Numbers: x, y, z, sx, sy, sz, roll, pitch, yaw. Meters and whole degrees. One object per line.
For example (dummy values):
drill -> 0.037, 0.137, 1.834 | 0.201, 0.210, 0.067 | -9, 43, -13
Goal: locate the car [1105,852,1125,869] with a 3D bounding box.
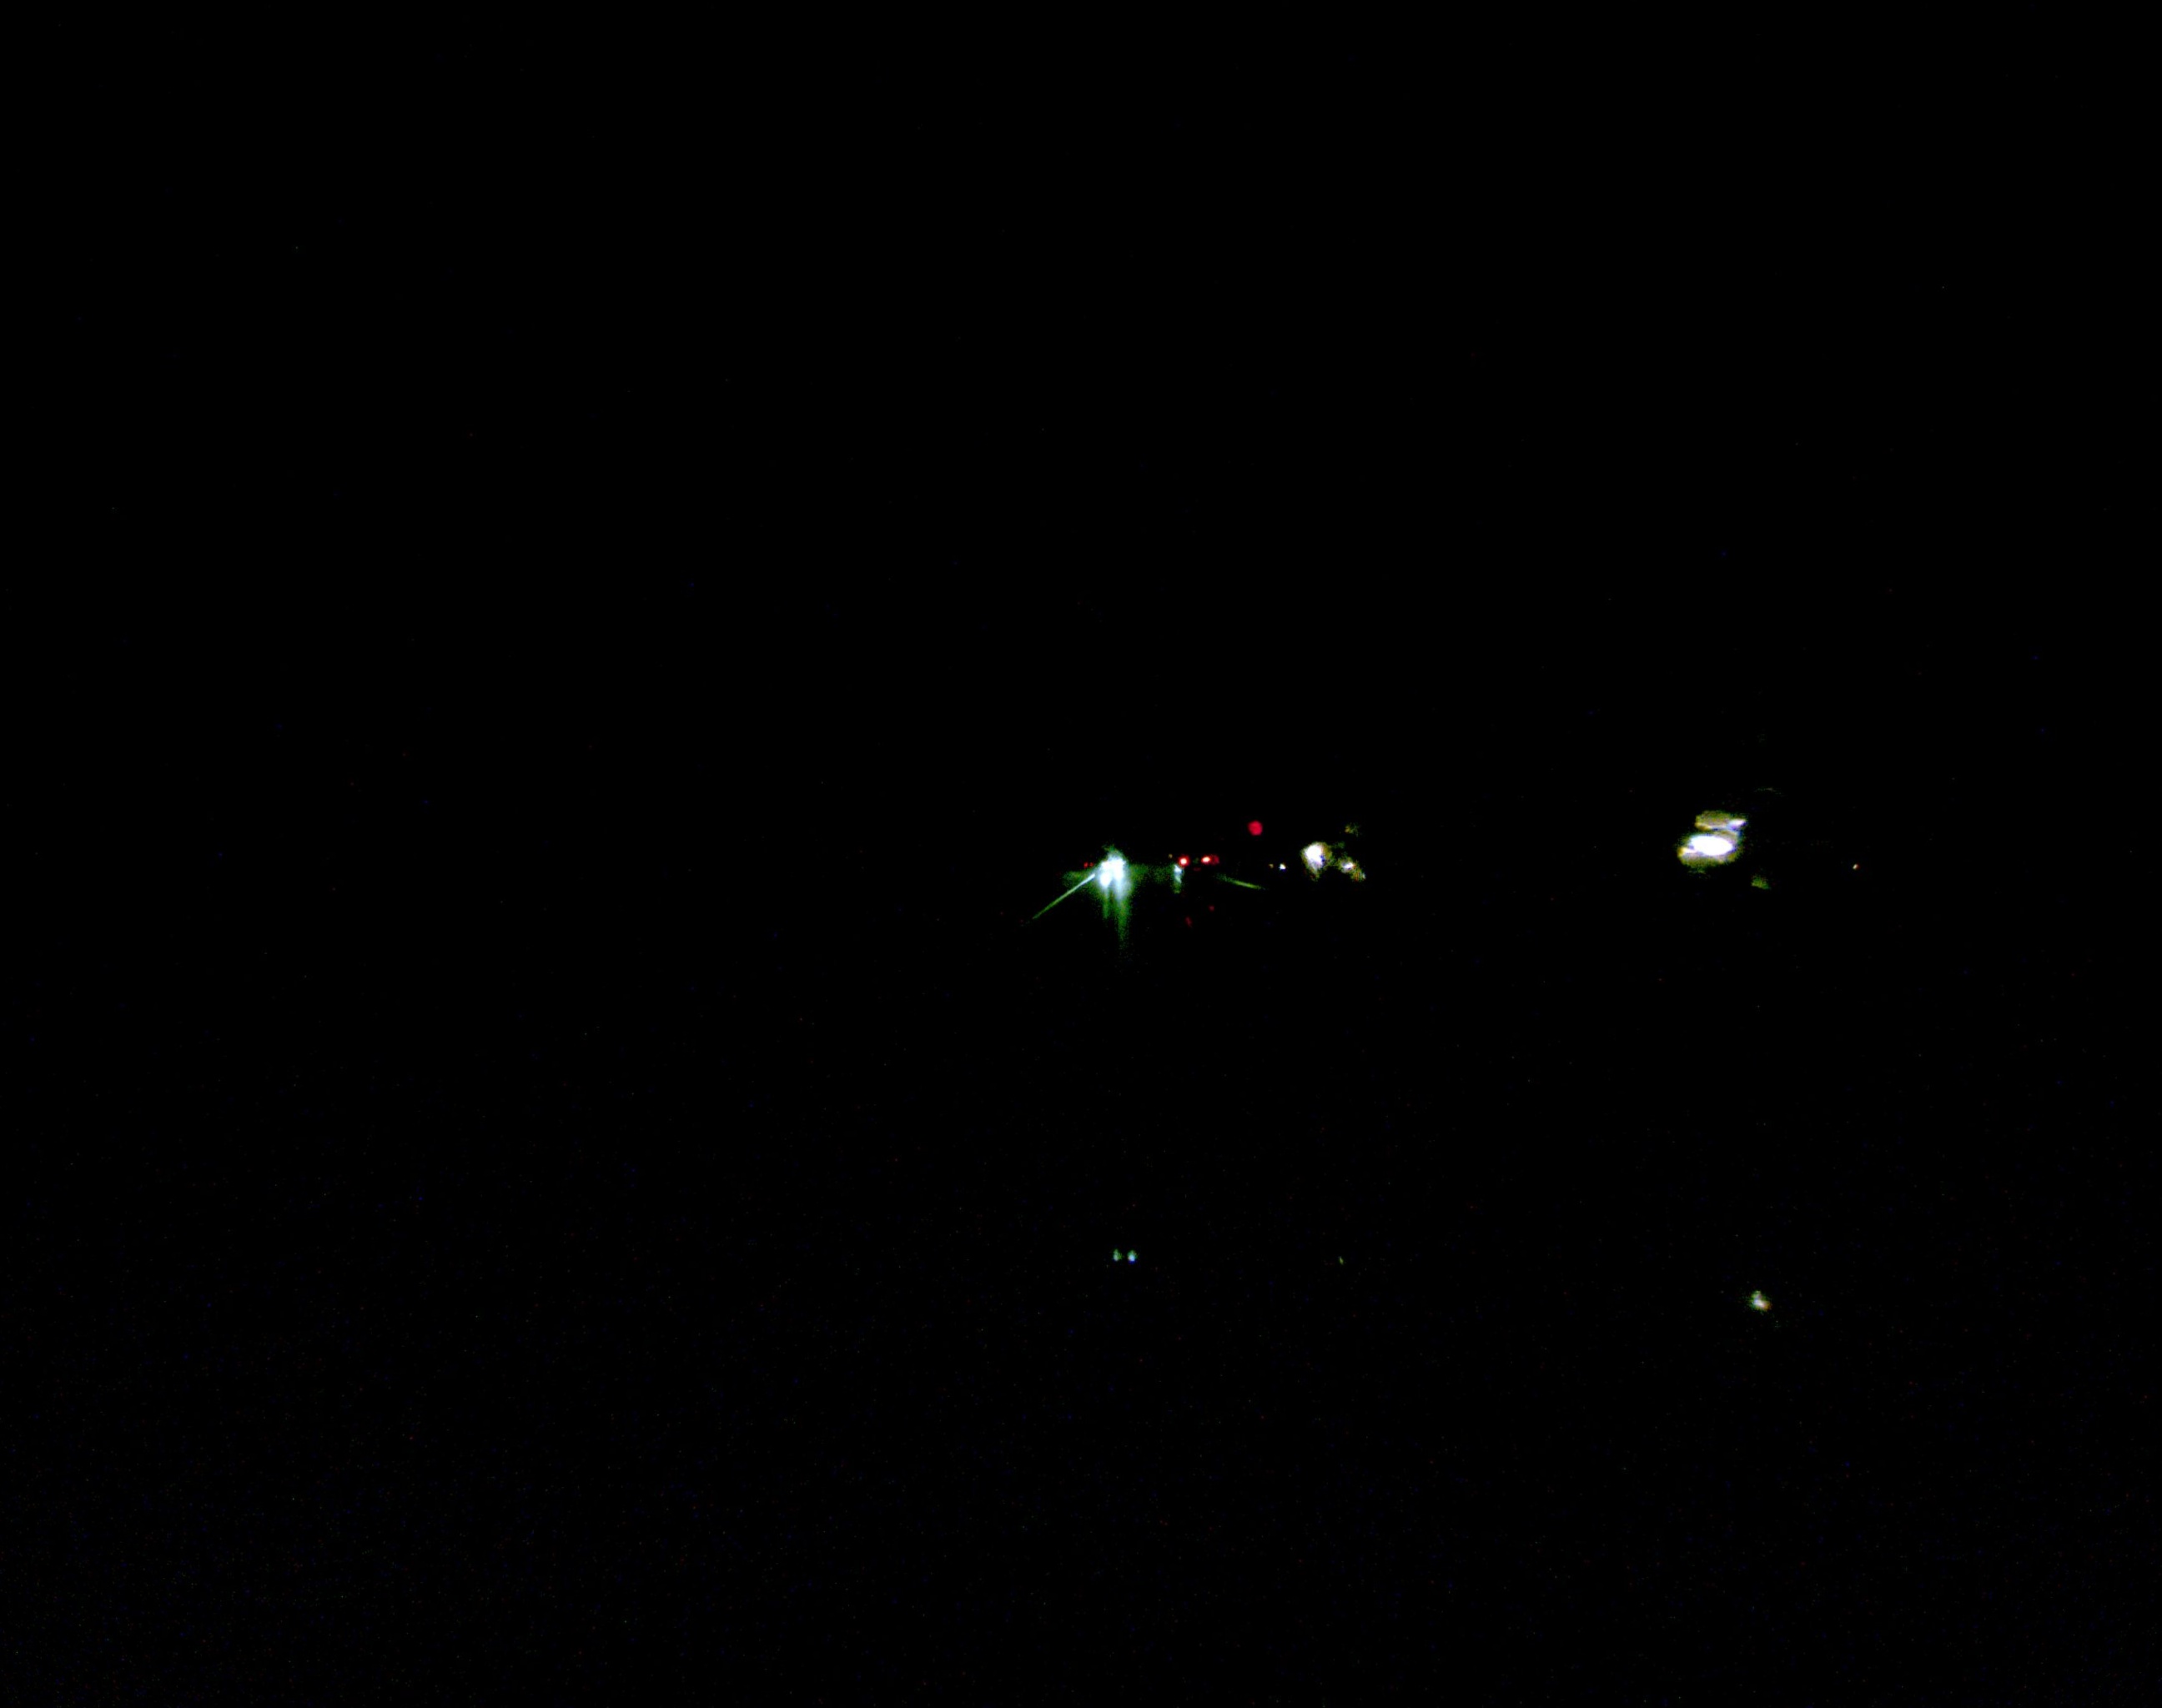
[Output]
car -> 3.658, 0.634, 81.630 | 1.959, 1.712, 4.000 | -1, 0, 3

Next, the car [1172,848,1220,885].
car -> 5.331, 0.558, 35.582 | 1.739, 1.533, 4.000 | -3, 1, 3
